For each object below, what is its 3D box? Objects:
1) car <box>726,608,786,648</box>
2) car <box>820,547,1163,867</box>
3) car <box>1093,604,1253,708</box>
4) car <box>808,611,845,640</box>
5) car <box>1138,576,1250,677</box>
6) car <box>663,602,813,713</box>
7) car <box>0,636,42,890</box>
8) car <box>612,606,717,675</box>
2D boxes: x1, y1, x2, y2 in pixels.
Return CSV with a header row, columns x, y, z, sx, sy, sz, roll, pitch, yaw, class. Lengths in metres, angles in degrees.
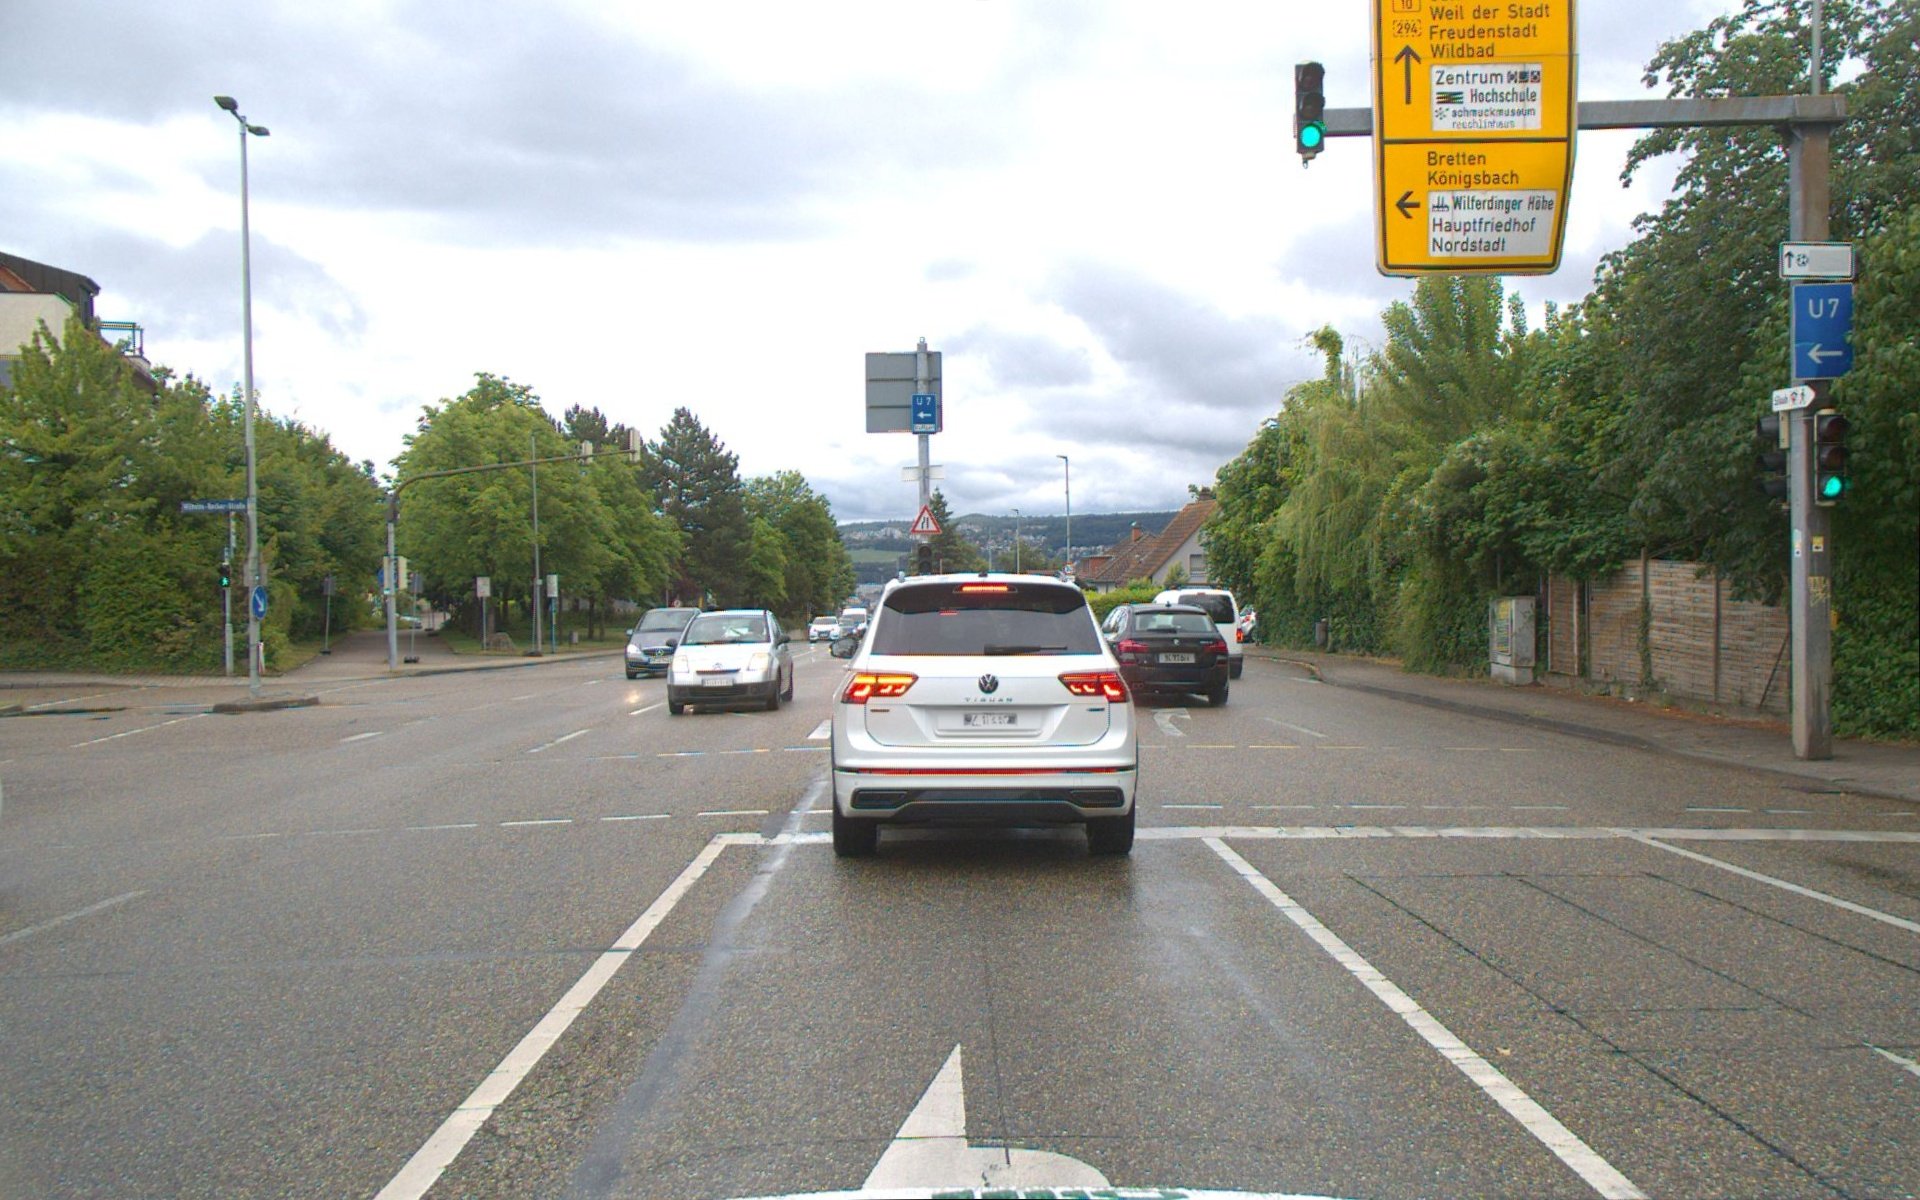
x,y,z,sx,sy,sz,roll,pitch,yaw,class
-7.158,0.969,58.350,1.616,1.295,3.621,-1,0,1,car
0.136,0.595,10.838,1.831,1.703,3.999,0,-1,-1,car
3.172,0.803,25.375,1.860,1.467,3.999,0,0,-1,car
-7.547,1.434,93.782,1.739,1.484,4.185,-2,0,-1,car
4.914,0.504,35.175,1.729,1.909,3.805,0,3,-2,car
-3.328,0.817,25.559,1.739,1.484,4.548,-2,0,-1,car
-6.215,0.950,7.391,1.739,1.409,4.548,-2,0,-1,car
-7.012,0.923,39.689,1.739,1.484,4.548,-2,0,-1,car
